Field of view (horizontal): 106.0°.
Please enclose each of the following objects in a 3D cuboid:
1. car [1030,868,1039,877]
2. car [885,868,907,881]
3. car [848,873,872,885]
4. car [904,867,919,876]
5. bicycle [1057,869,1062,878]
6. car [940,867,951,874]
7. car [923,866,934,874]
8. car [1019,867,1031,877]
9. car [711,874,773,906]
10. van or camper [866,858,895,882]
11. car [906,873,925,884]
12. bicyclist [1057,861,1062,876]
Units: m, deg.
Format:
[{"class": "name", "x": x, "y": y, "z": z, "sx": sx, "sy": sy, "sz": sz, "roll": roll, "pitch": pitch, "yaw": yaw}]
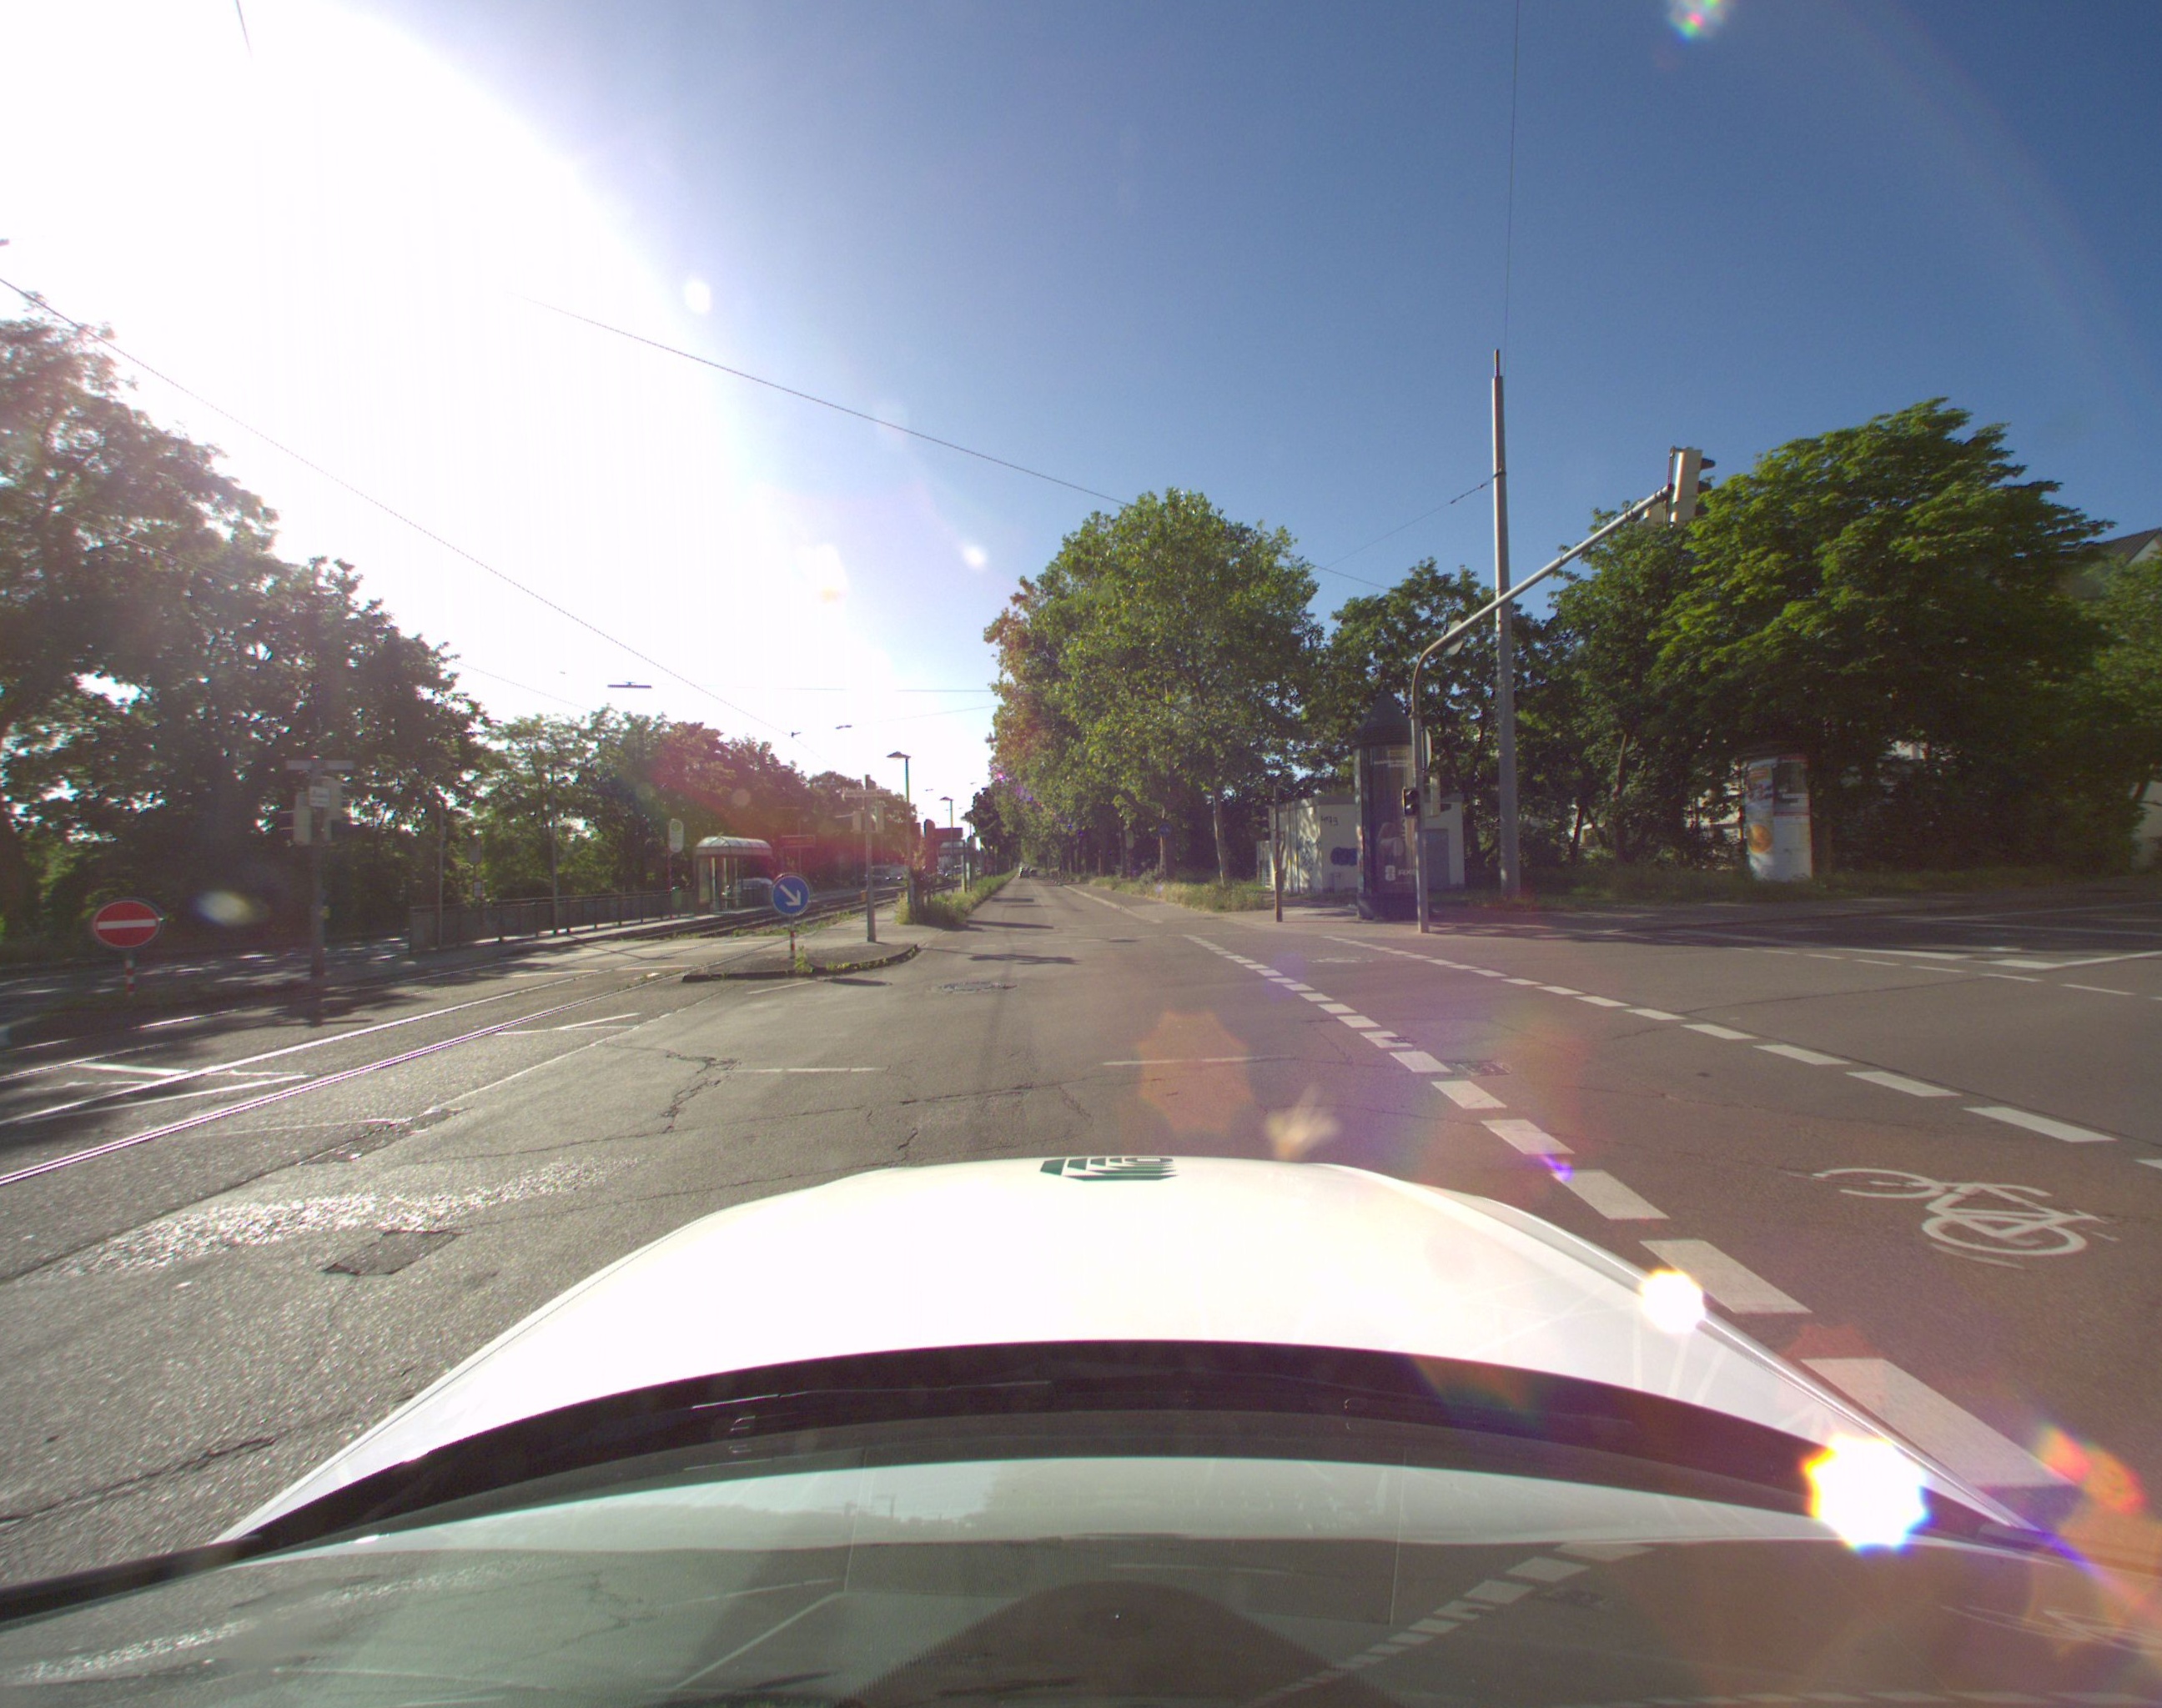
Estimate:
[{"class": "car", "x": -9.379, "y": 3.730, "z": 163.687, "sx": 1.747, "sy": 1.604, "sz": 3.744, "roll": -1, "pitch": 0, "yaw": -4}, {"class": "car", "x": -22.102, "y": 2.467, "z": 97.569, "sx": 1.991, "sy": 1.469, "sz": 4.368, "roll": -2, "pitch": -1, "yaw": -5}, {"class": "car", "x": -26.371, "y": 2.936, "z": 97.293, "sx": 1.916, "sy": 1.266, "sz": 3.996, "roll": -2, "pitch": 0, "yaw": -2}, {"class": "car", "x": -29.628, "y": 3.044, "z": 142.582, "sx": 1.916, "sy": 1.577, "sz": 3.996, "roll": -2, "pitch": -1, "yaw": -3}, {"class": "bicycle", "x": -2.673, "y": 2.399, "z": 100.471, "sx": 0.535, "sy": 1.066, "sz": 1.430, "roll": -2, "pitch": -1, "yaw": -6}, {"class": "car", "x": -31.317, "y": 3.839, "z": 187.917, "sx": 1.916, "sy": 1.438, "sz": 3.996, "roll": -2, "pitch": 0, "yaw": -3}, {"class": "car", "x": -31.171, "y": 3.238, "z": 166.173, "sx": 1.740, "sy": 1.496, "sz": 3.588, "roll": -2, "pitch": -1, "yaw": -3}, {"class": "car", "x": -8.858, "y": 2.875, "z": 128.572, "sx": 1.864, "sy": 1.486, "sz": 3.550, "roll": -1, "pitch": -1, "yaw": -4}, {"class": "car", "x": -17.681, "y": 1.848, "z": 42.697, "sx": 1.802, "sy": 1.466, "sz": 3.993, "roll": -2, "pitch": -1, "yaw": -5}, {"class": "van or camper", "x": -26.988, "y": 2.118, "z": 110.096, "sx": 2.585, "sy": 3.106, "sz": 6.778, "roll": -2, "pitch": -1, "yaw": -4}, {"class": "car", "x": -24.044, "y": 3.489, "z": 118.563, "sx": 1.989, "sy": 1.469, "sz": 4.371, "roll": -2, "pitch": -1, "yaw": -3}, {"class": "bicyclist", "x": -2.697, "y": 1.771, "z": 100.536, "sx": 0.533, "sy": 1.770, "sz": 0.711, "roll": -2, "pitch": -1, "yaw": -6}]
